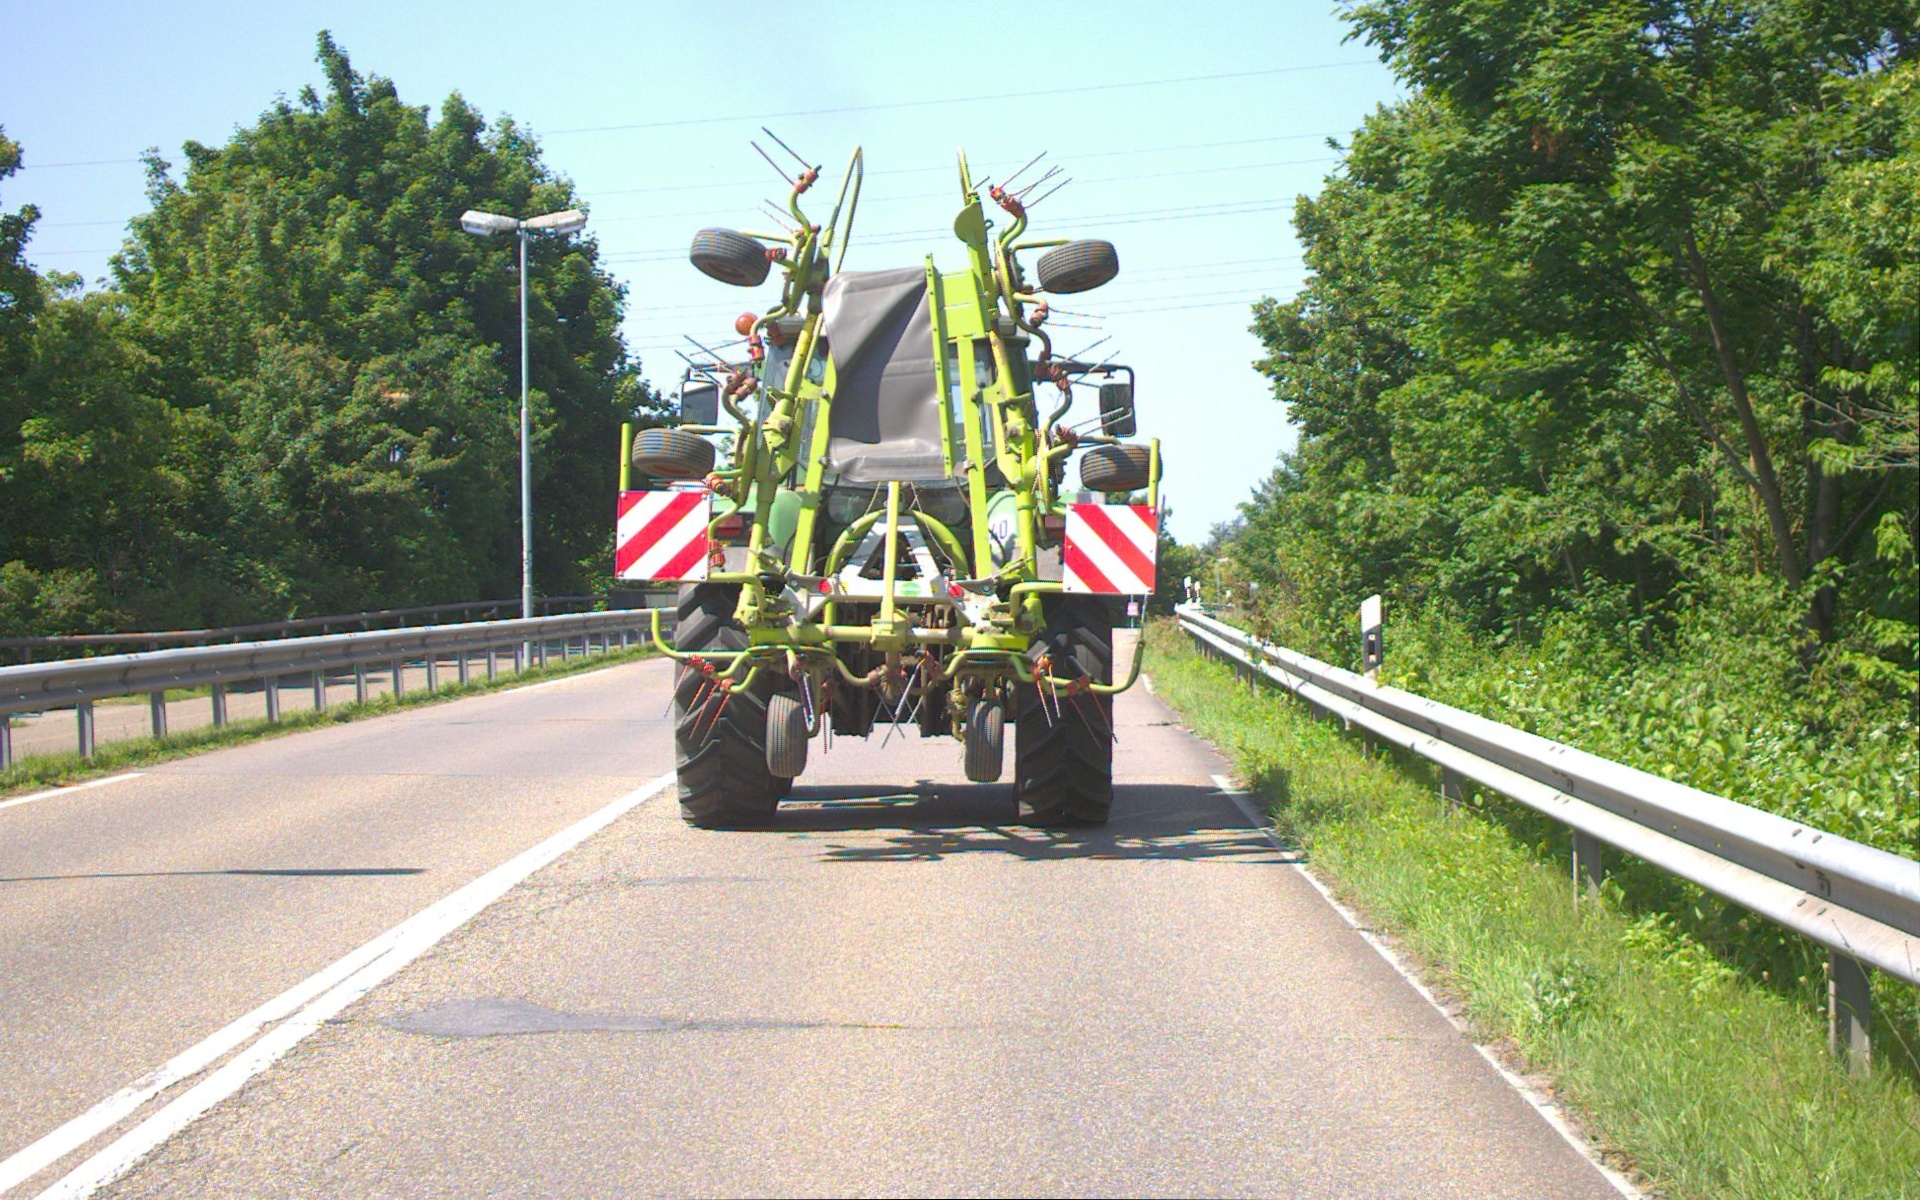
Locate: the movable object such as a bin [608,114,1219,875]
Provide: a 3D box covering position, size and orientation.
[{"bbox_3d":[-0.320,-0.525,18.396,2.755,3.432,5.671,0,1,-2],"label":"movable object such as a bin"}]
